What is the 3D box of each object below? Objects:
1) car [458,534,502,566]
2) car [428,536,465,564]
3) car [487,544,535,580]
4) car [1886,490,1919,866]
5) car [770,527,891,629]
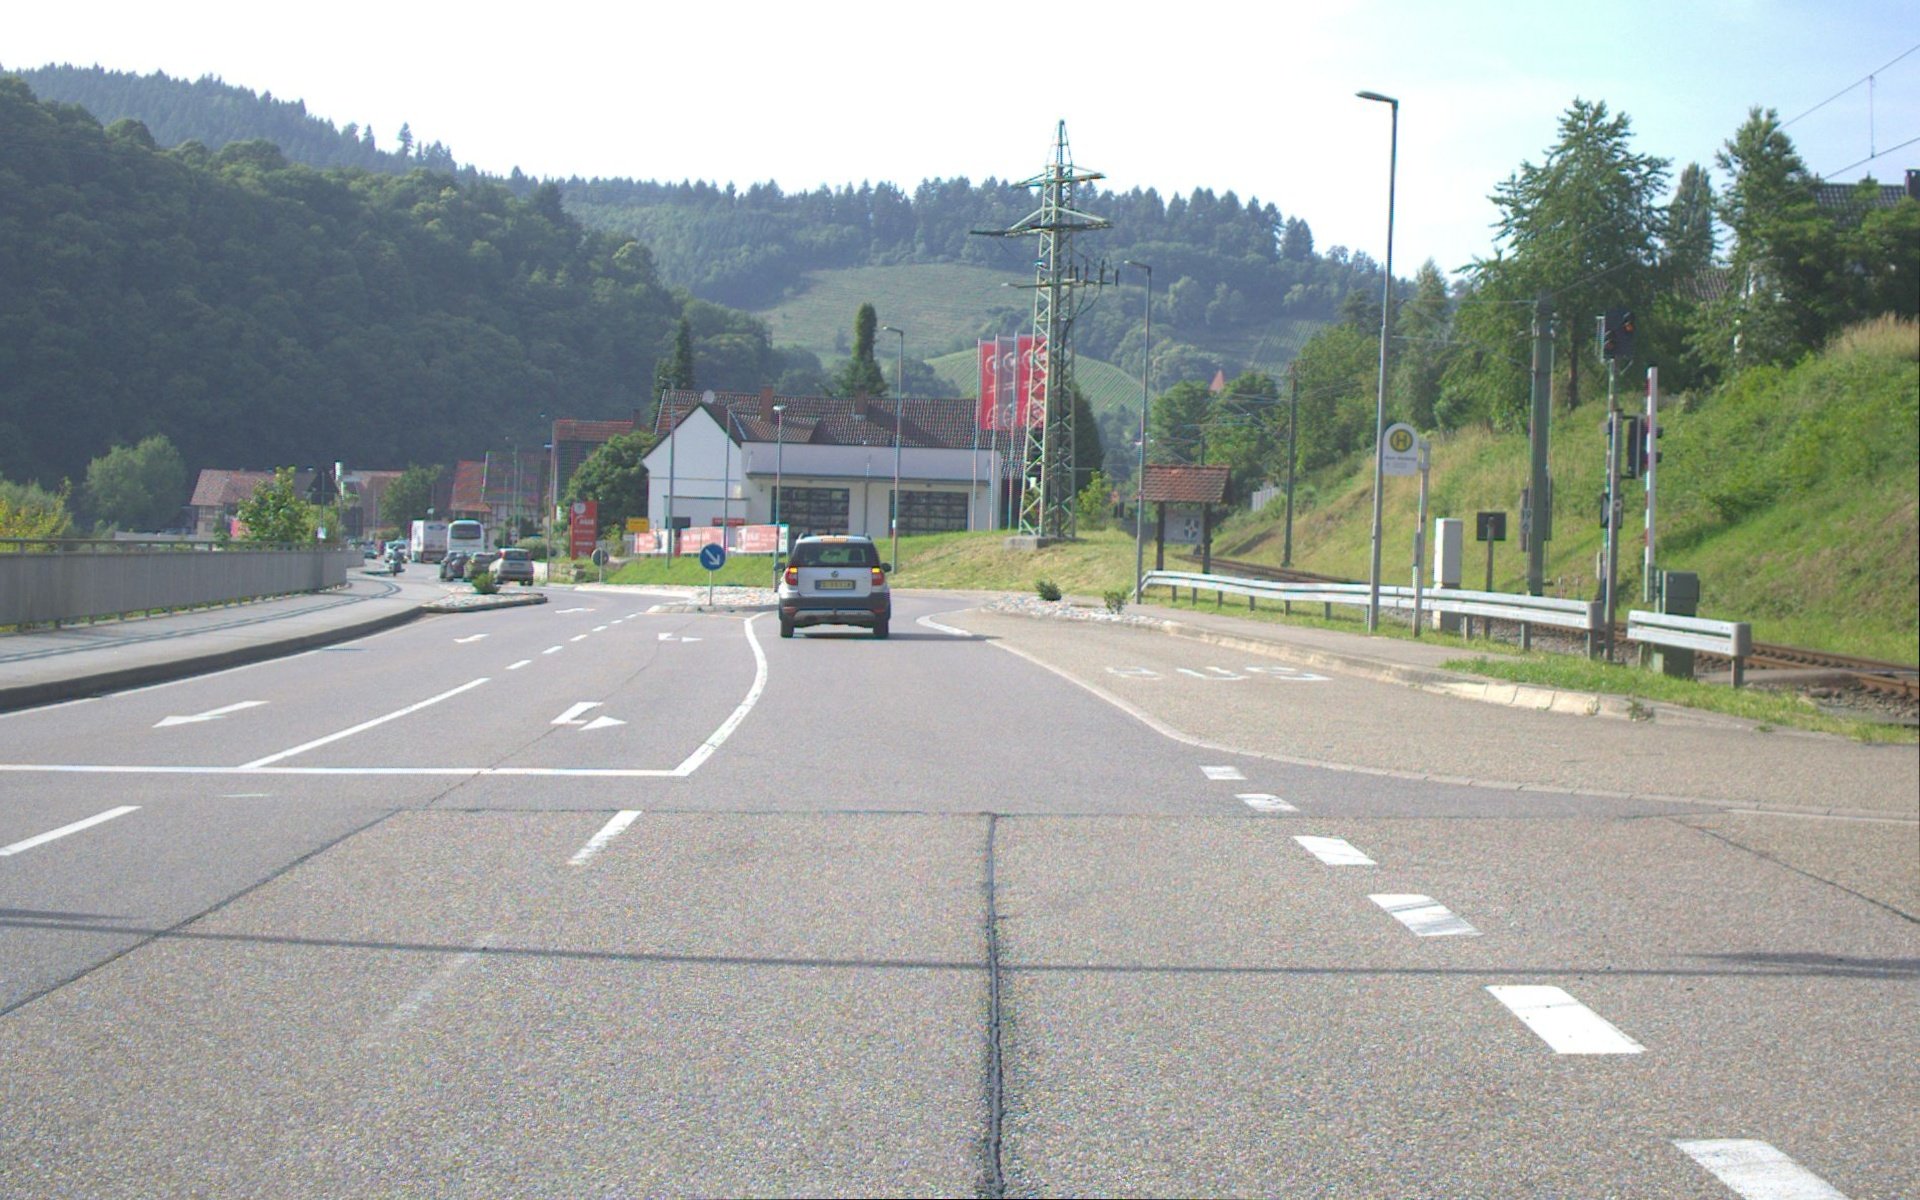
[{"bbox_3d":[-23.245,-2.438,166.414,1.453,1.430,2.937,2,2,-20],"label":"car"},{"bbox_3d":[-28.978,-2.820,193.847,1.453,1.430,2.937,2,2,-20],"label":"car"},{"bbox_3d":[-19.769,-1.691,151.274,1.453,1.430,2.937,2,2,-19],"label":"car"},{"bbox_3d":[6.637,0.383,14.852,4.734,1.654,1.927,2,1,30],"label":"car"},{"bbox_3d":[-2.140,-0.365,56.387,1.861,1.539,4.373,2,0,-3],"label":"car"}]
